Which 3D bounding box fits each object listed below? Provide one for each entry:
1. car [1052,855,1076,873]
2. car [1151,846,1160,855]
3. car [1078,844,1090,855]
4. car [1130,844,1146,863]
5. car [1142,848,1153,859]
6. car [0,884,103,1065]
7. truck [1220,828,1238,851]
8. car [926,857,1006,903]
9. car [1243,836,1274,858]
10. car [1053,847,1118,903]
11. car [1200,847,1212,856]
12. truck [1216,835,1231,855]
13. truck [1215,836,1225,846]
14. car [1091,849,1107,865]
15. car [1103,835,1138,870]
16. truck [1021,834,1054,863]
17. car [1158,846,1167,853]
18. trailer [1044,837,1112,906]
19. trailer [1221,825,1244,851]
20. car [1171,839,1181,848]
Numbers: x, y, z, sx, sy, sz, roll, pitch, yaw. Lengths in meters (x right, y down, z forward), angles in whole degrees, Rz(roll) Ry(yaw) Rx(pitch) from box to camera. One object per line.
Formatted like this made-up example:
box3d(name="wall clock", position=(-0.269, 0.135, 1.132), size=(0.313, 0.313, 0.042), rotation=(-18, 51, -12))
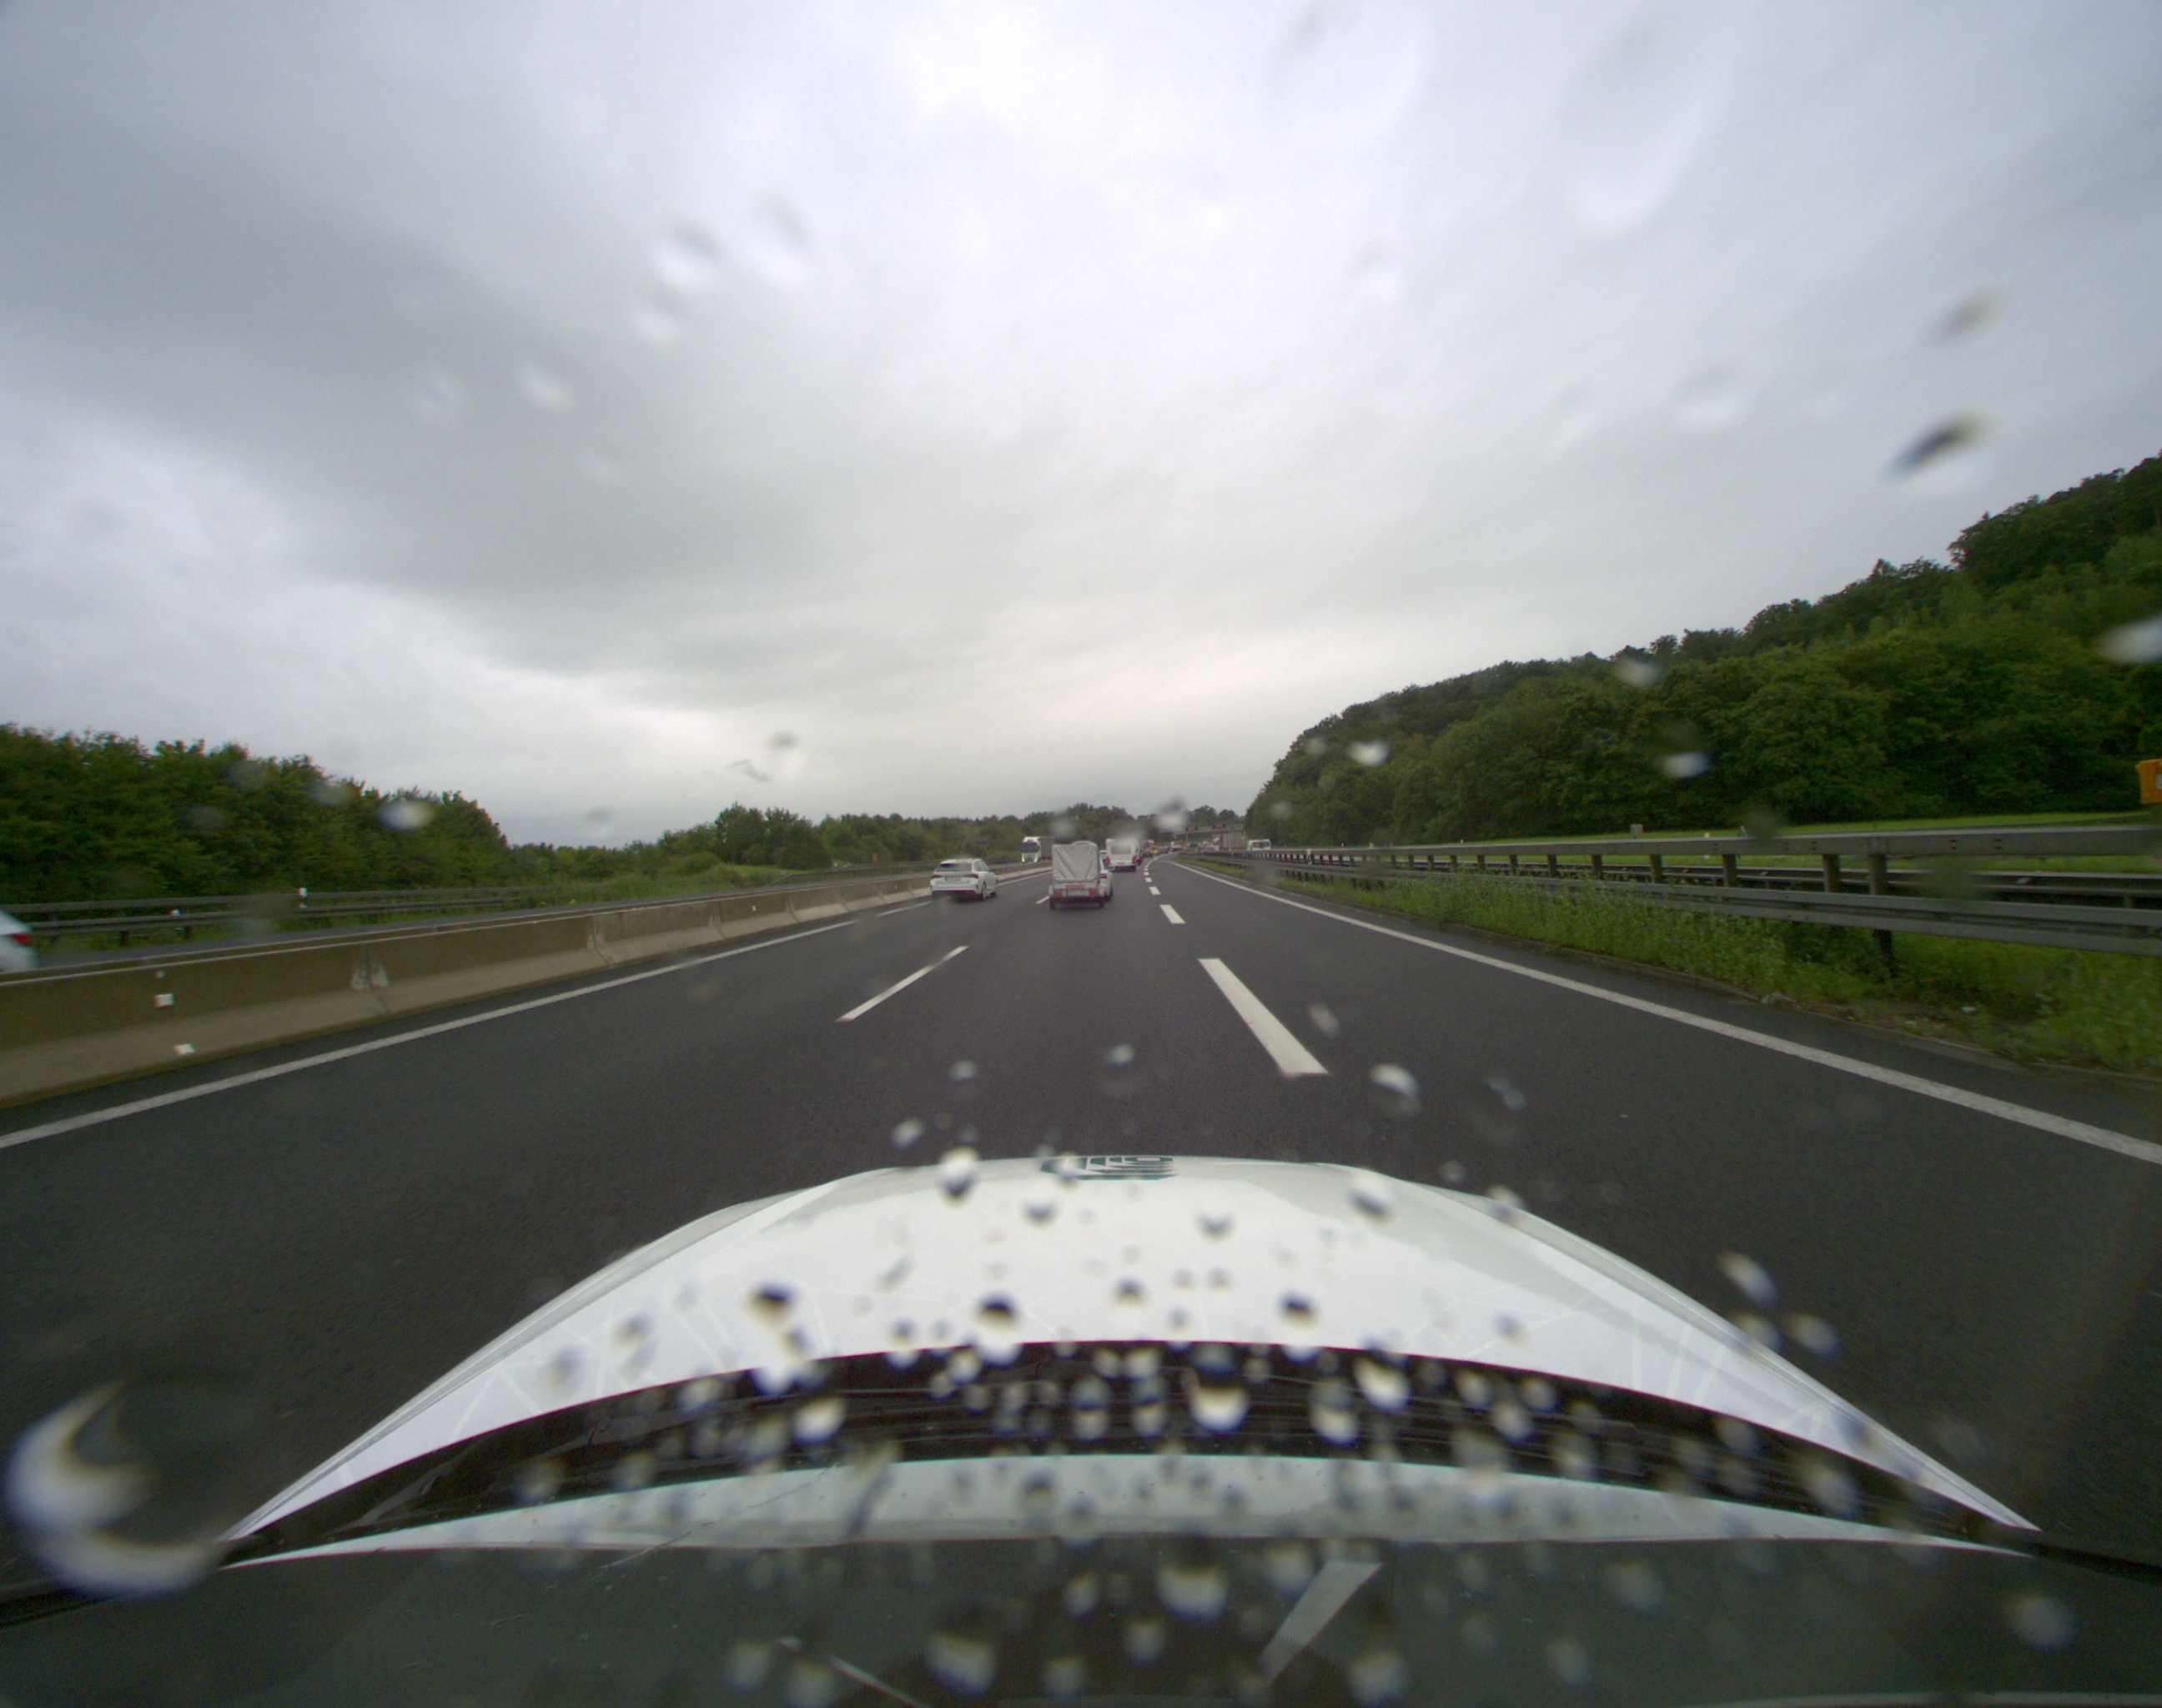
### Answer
box3d(name="car", position=(-1.468, 0.832, 70.862), size=(1.668, 1.456, 4.004), rotation=(-2, -1, 4))
box3d(name="car", position=(16.166, -0.812, 176.057), size=(1.666, 1.812, 4.010), rotation=(-2, -1, 9))
box3d(name="car", position=(0.612, -0.889, 149.816), size=(1.729, 1.919, 4.324), rotation=(-2, -1, 6))
box3d(name="car", position=(6.436, -0.039, 91.243), size=(1.668, 2.067, 4.004), rotation=(-2, -1, 4))
box3d(name="car", position=(11.854, -0.033, 145.250), size=(1.667, 1.812, 4.008), rotation=(-2, -1, 7))
box3d(name="car", position=(-12.549, 1.326, 7.514), size=(1.731, 1.919, 4.318), rotation=(-2, -1, 2))
box3d(name="truck", position=(25.965, -2.528, 142.961), size=(2.603, 3.885, 6.402), rotation=(-2, -1, 6))
box3d(name="car", position=(-4.020, 0.877, 29.157), size=(1.810, 1.456, 4.783), rotation=(-2, -1, 4))
box3d(name="car", position=(14.968, -0.576, 68.931), size=(1.900, 1.693, 4.723), rotation=(-2, -1, 4))
box3d(name="car", position=(0.234, 0.661, 27.248), size=(1.810, 1.616, 4.782), rotation=(-2, -1, 4))
box3d(name="car", position=(21.467, -0.354, 139.917), size=(1.658, 1.382, 4.133), rotation=(-4, -1, 6))
box3d(name="truck", position=(35.493, -2.287, 203.367), size=(3.197, 4.666, 13.064), rotation=(-2, -1, 9))
box3d(name="truck", position=(43.362, -4.147, 254.666), size=(2.827, 2.725, 9.325), rotation=(-2, -1, 9))
box3d(name="car", position=(2.389, 0.429, 107.989), size=(1.986, 1.919, 4.001), rotation=(-2, -1, 1))
box3d(name="car", position=(3.093, -0.096, 64.727), size=(2.498, 2.585, 5.701), rotation=(-2, -1, 2))
box3d(name="truck", position=(-6.600, -0.733, 125.537), size=(2.772, 4.092, 12.323), rotation=(-2, -1, 7))
box3d(name="car", position=(20.141, -1.099, 200.296), size=(2.026, 1.683, 4.009), rotation=(-2, -1, 8))
box3d(name="trailer", position=(0.002, 0.504, 24.104), size=(1.668, 1.812, 4.004), rotation=(-2, -1, 4))
box3d(name="trailer", position=(25.294, -2.569, 136.551), size=(2.591, 3.894, 12.510), rotation=(-2, -1, 6))
box3d(name="car", position=(27.834, -2.985, 239.498), size=(2.500, 2.574, 5.326), rotation=(-2, -1, 10))
